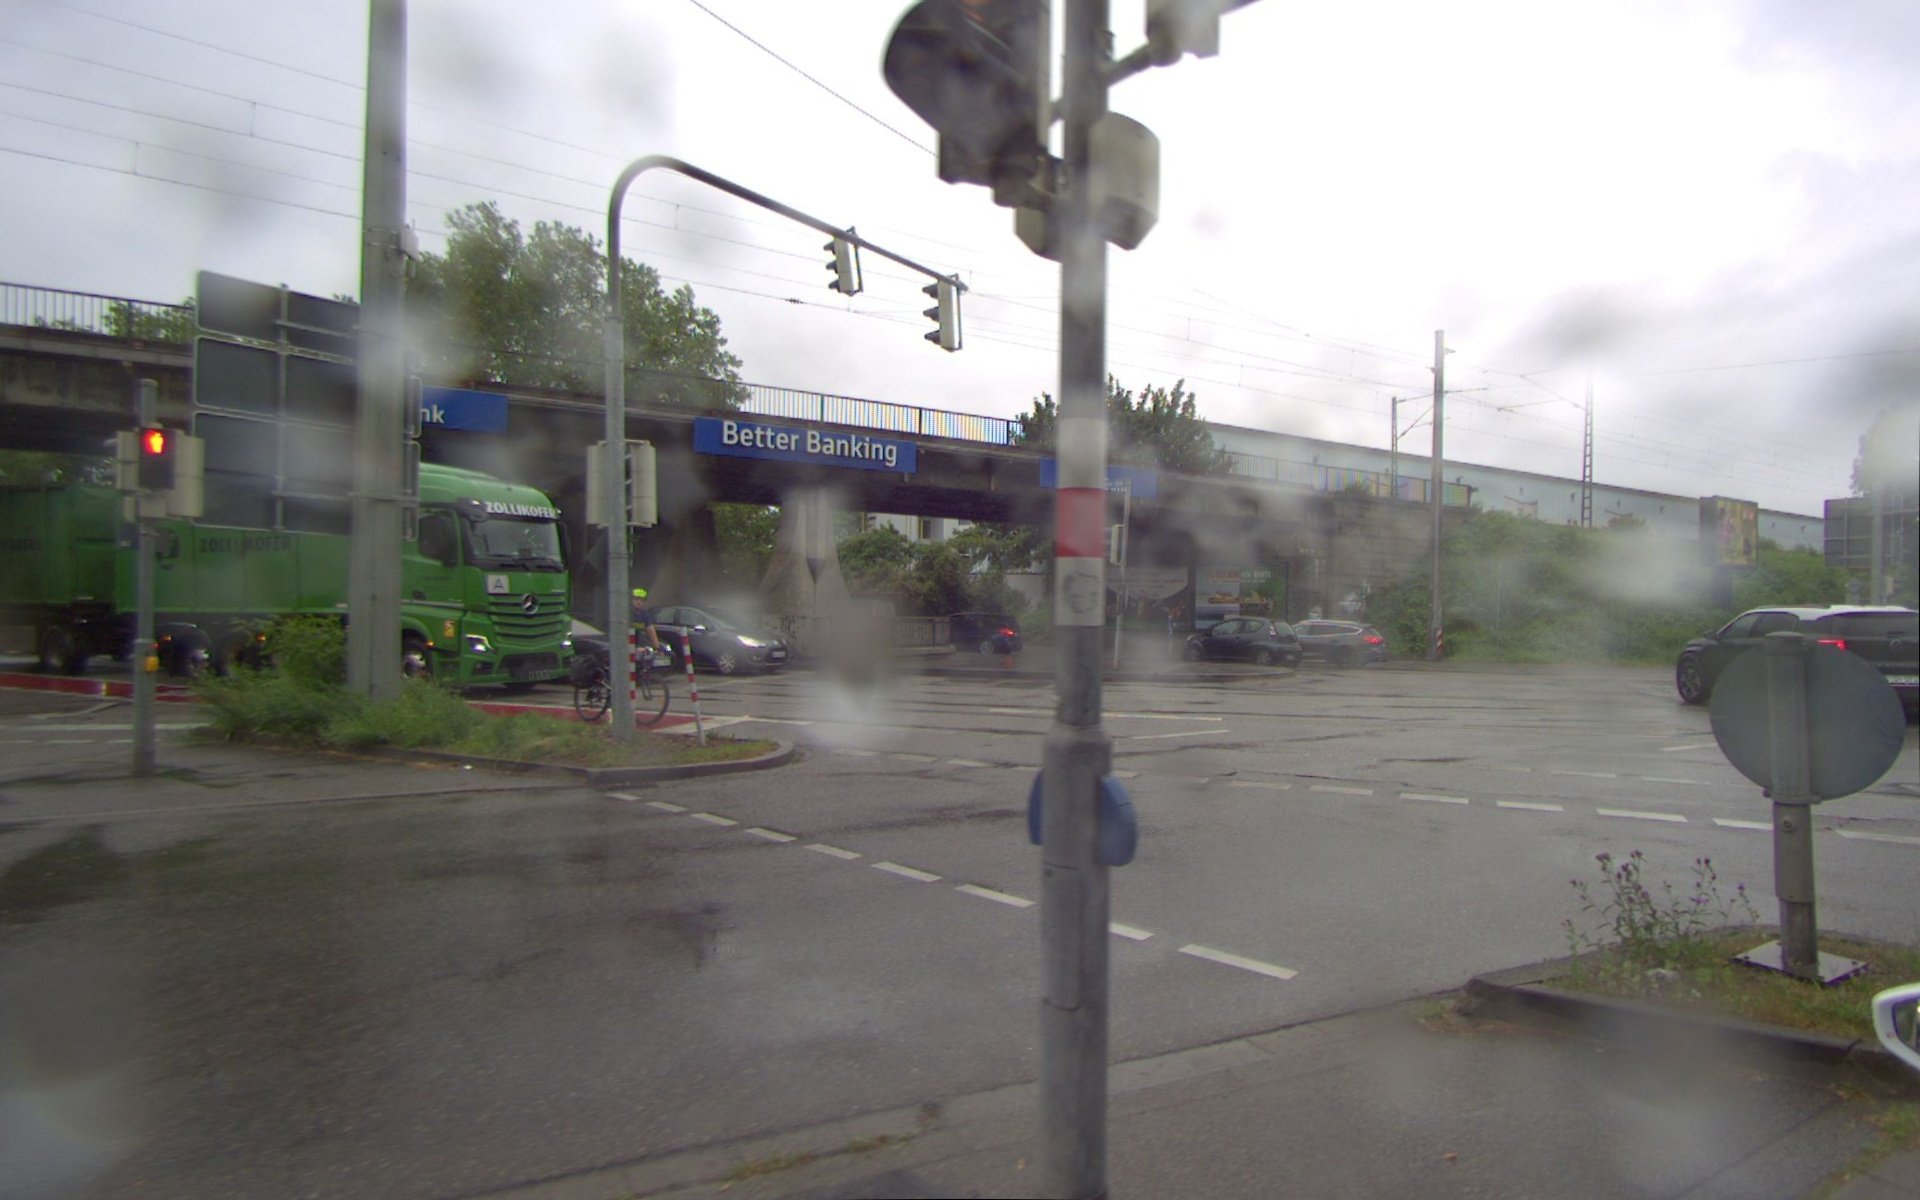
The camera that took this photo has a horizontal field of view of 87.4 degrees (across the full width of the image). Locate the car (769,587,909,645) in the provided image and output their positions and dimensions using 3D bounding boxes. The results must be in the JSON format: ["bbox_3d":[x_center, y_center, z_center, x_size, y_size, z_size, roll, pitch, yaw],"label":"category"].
[{"bbox_3d":[-4.399,0.586,36.434,4.730,1.982,1.998,-1,-1,26],"label":"car"}]

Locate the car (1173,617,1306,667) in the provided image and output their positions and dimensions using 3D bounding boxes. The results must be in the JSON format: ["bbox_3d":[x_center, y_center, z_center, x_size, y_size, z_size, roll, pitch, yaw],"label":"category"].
[{"bbox_3d":[8.003,1.170,28.967,1.572,1.323,3.415,1,-1,-42],"label":"car"}]

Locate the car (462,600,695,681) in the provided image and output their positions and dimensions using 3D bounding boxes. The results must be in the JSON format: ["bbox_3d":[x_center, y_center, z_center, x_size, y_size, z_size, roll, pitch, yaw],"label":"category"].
[{"bbox_3d":[-7.764,0.763,20.381,4.597,1.505,1.744,0,-1,26],"label":"car"}]

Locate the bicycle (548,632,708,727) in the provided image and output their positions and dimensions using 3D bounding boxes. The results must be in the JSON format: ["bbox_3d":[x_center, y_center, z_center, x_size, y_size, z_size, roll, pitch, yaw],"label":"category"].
[{"bbox_3d":[-4.321,1.010,13.094,1.874,1.109,0.695,2,1,14],"label":"bicycle"}]

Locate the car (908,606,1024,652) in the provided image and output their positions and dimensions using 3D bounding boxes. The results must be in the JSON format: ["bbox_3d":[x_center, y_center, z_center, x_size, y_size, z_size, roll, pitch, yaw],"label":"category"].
[{"bbox_3d":[0.239,1.057,37.351,3.868,1.640,1.999,0,-1,22],"label":"car"}]

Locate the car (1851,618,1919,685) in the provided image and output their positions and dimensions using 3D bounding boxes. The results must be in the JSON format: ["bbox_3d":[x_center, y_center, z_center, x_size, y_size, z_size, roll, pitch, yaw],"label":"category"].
[{"bbox_3d":[19.367,1.000,19.173,1.655,1.300,3.254,1,-1,-7],"label":"car"}]

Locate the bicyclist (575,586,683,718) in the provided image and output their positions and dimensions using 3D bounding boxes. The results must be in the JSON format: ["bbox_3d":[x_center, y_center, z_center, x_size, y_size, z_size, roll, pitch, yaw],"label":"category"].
[{"bbox_3d":[-4.291,0.652,13.067,1.026,1.615,0.805,2,0,12],"label":"bicyclist"}]

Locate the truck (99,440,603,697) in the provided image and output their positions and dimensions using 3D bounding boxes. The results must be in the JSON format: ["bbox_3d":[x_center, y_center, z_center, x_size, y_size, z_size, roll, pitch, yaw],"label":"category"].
[{"bbox_3d":[-11.581,-0.485,18.826,9.998,4.001,2.687,0,-1,23],"label":"truck"}]

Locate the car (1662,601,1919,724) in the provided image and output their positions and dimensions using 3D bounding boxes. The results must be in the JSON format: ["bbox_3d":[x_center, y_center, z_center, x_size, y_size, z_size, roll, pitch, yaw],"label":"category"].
[{"bbox_3d":[12.859,0.867,15.364,1.884,1.630,4.003,0,-1,9],"label":"car"}]

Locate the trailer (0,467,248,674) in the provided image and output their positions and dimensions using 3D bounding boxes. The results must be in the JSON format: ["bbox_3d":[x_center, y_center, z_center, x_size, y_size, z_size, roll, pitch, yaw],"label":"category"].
[{"bbox_3d":[-20.009,-0.581,22.519,8.358,4.039,2.688,1,-1,24],"label":"trailer"}]

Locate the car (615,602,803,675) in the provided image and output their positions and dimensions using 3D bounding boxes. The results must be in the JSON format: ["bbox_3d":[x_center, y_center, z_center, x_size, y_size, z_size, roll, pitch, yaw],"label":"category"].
[{"bbox_3d":[-5.716,0.840,22.916,3.921,1.566,1.660,0,-1,20],"label":"car"}]

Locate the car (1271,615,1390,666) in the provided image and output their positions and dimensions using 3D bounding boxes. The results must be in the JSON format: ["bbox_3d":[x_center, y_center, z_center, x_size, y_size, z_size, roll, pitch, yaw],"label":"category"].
[{"bbox_3d":[11.481,1.218,31.141,3.294,1.493,1.566,0,-1,29],"label":"car"}]
